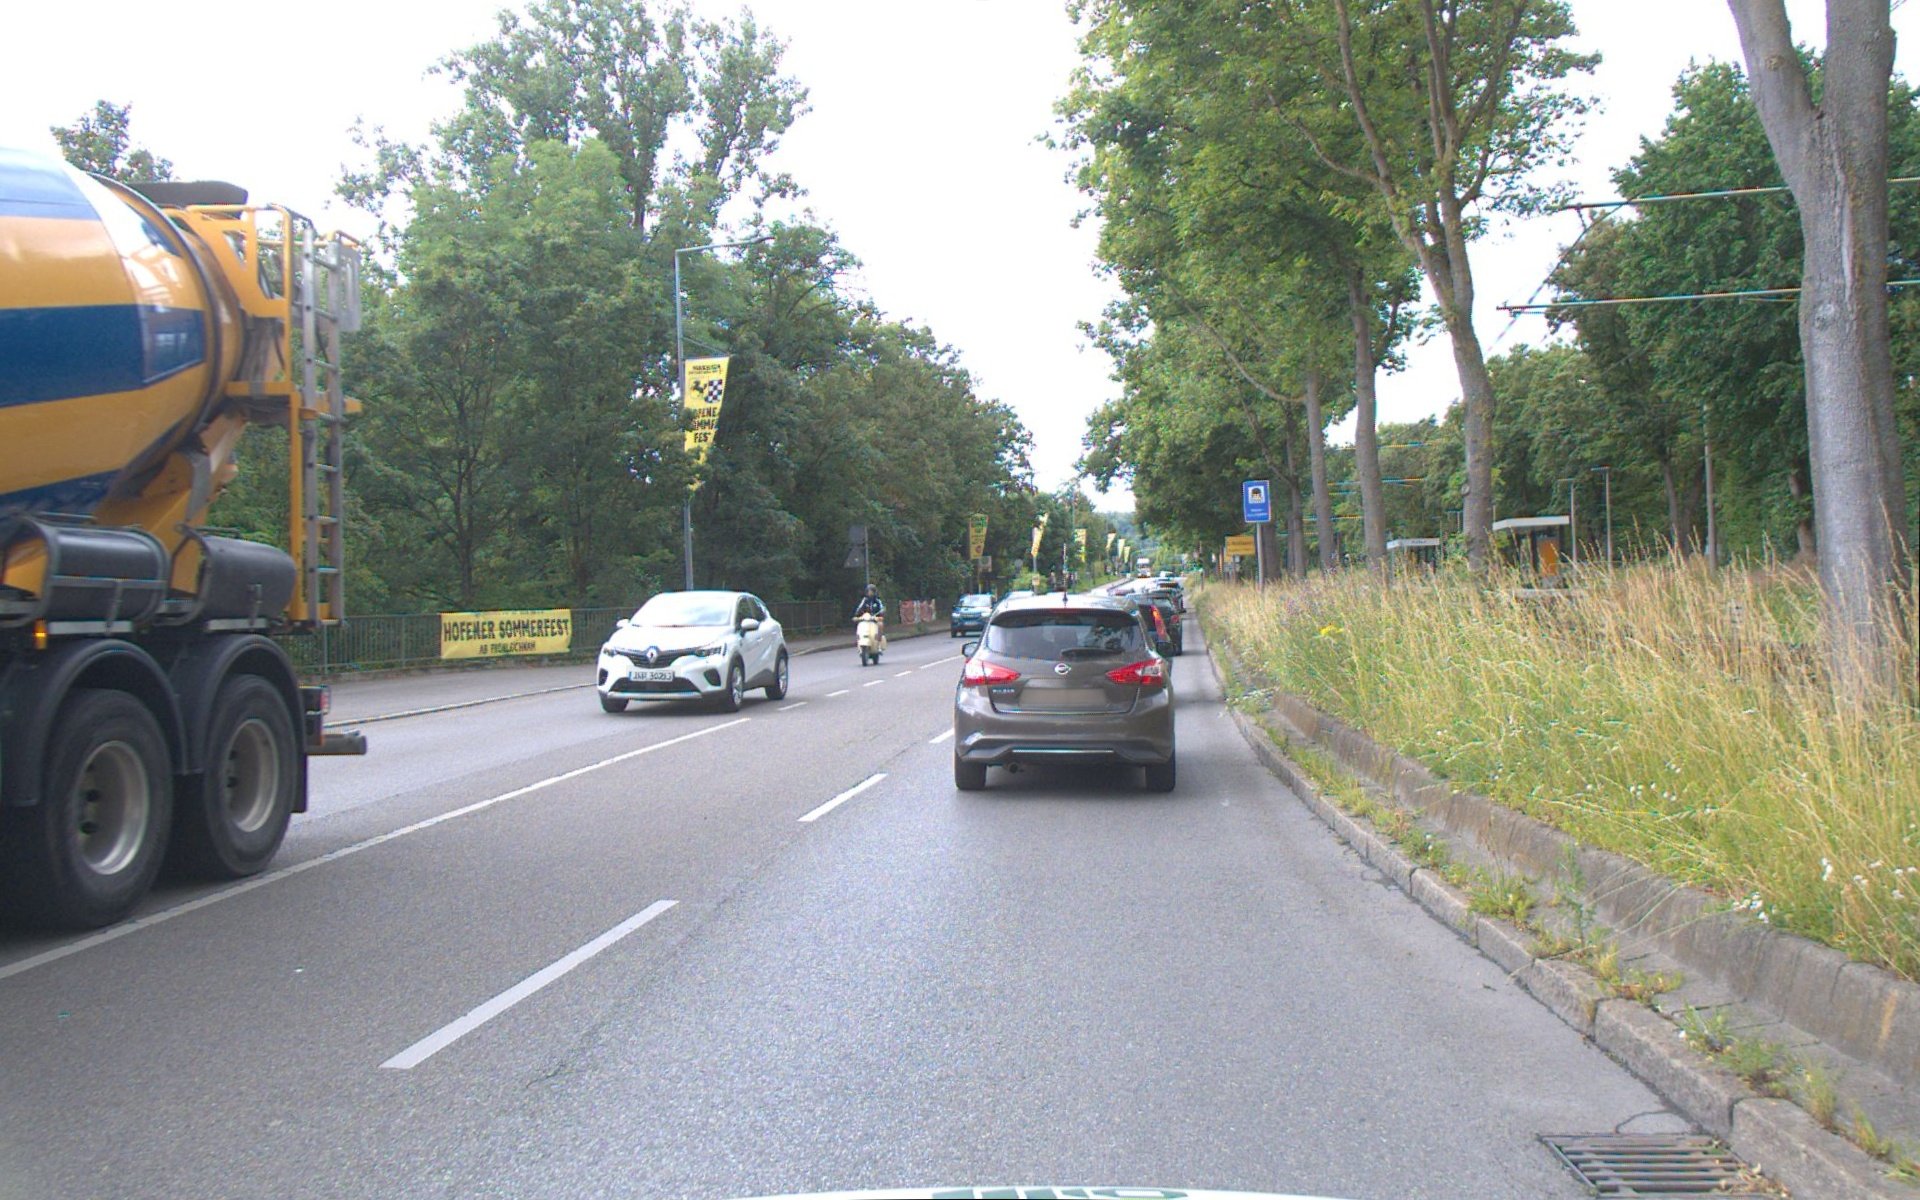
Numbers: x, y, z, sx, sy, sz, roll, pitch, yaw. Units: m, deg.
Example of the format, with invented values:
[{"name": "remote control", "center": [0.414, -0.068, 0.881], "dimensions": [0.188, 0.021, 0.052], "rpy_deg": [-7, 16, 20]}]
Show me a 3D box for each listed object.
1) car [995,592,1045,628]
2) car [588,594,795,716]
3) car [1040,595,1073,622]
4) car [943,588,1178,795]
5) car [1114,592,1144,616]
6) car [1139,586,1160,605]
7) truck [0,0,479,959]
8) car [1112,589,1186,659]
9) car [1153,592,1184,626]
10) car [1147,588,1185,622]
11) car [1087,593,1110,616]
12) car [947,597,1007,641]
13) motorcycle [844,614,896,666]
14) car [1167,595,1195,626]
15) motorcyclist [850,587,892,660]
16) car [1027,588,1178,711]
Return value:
[{"name": "car", "center": [2.679, 0.425, 72.855], "dimensions": [1.779, 1.488, 4.003], "rpy_deg": [-2, 0, 8]}, {"name": "car", "center": [-3.520, 0.679, 22.435], "dimensions": [1.729, 1.505, 4.003], "rpy_deg": [0, 0, 7]}, {"name": "car", "center": [5.807, 0.541, 99.545], "dimensions": [1.715, 1.445, 4.002], "rpy_deg": [-2, -2, 7]}, {"name": "car", "center": [0.819, 0.722, 14.281], "dimensions": [1.738, 1.520, 4.001], "rpy_deg": [0, -1, 2]}, {"name": "car", "center": [11.589, 0.288, 113.258], "dimensions": [1.812, 1.512, 4.424], "rpy_deg": [-1, -1, 9]}, {"name": "car", "center": [15.841, -0.391, 138.417], "dimensions": [1.682, 1.426, 3.728], "rpy_deg": [-2, -2, 7]}, {"name": "truck", "center": [-5.057, -0.588, 6.823], "dimensions": [2.599, 4.007, 10.115], "rpy_deg": [0, 0, 4]}, {"name": "car", "center": [4.529, 0.577, 39.980], "dimensions": [1.545, 1.565, 4.002], "rpy_deg": [-2, -1, 4]}, {"name": "car", "center": [11.755, 0.518, 93.362], "dimensions": [1.682, 1.723, 4.002], "rpy_deg": [-2, -2, 7]}, {"name": "car", "center": [9.972, 0.272, 80.031], "dimensions": [1.766, 1.567, 4.003], "rpy_deg": [0, -1, 8]}, {"name": "car", "center": [11.402, 0.402, 135.851], "dimensions": [1.682, 1.723, 3.728], "rpy_deg": [-2, -2, 7]}, {"name": "car", "center": [0.638, 0.711, 60.051], "dimensions": [1.684, 1.467, 4.002], "rpy_deg": [-2, -2, 7]}, {"name": "motorcycle", "center": [-1.914, 0.846, 35.591], "dimensions": [0.729, 1.051, 1.890], "rpy_deg": [-1, 0, 9]}, {"name": "car", "center": [15.067, 0.687, 112.578], "dimensions": [1.850, 2.049, 4.003], "rpy_deg": [-1, 0, 8]}, {"name": "motorcyclist", "center": [-1.915, 0.499, 35.599], "dimensions": [0.729, 1.566, 0.791], "rpy_deg": [-1, 0, 9]}, {"name": "car", "center": [1.955, 0.692, 23.696], "dimensions": [1.854, 1.602, 4.000], "rpy_deg": [0, -1, 1]}]
